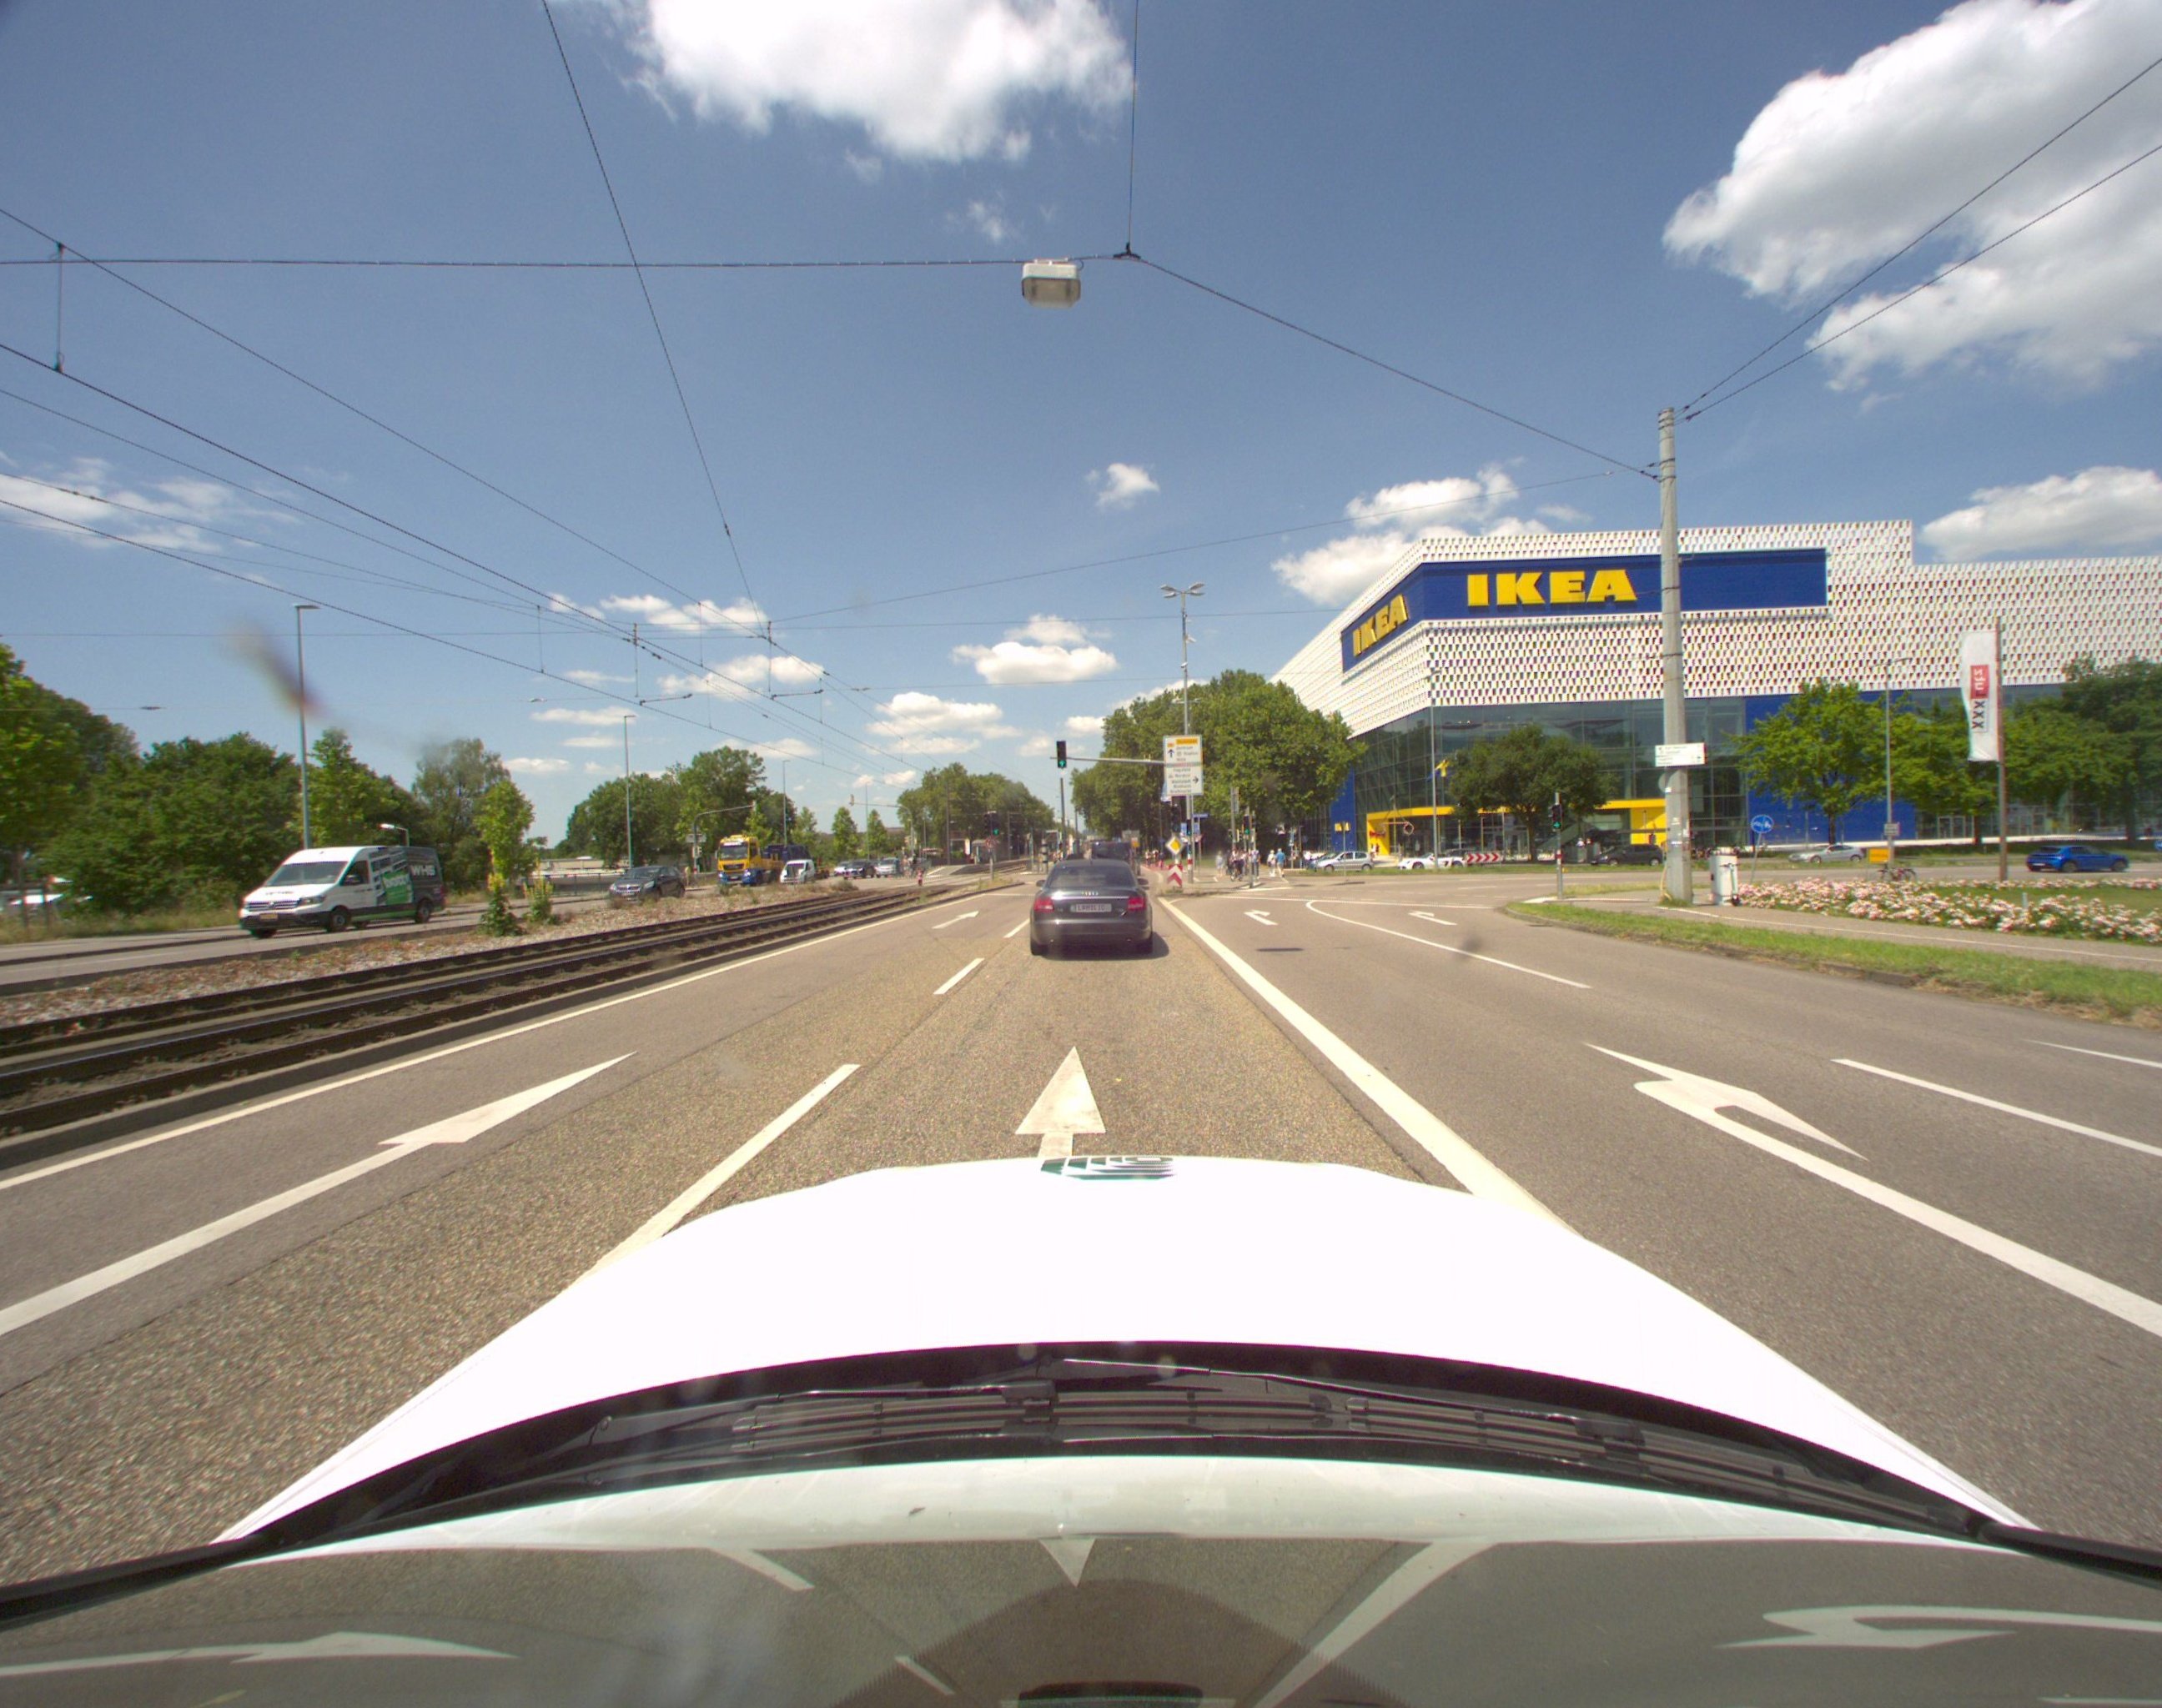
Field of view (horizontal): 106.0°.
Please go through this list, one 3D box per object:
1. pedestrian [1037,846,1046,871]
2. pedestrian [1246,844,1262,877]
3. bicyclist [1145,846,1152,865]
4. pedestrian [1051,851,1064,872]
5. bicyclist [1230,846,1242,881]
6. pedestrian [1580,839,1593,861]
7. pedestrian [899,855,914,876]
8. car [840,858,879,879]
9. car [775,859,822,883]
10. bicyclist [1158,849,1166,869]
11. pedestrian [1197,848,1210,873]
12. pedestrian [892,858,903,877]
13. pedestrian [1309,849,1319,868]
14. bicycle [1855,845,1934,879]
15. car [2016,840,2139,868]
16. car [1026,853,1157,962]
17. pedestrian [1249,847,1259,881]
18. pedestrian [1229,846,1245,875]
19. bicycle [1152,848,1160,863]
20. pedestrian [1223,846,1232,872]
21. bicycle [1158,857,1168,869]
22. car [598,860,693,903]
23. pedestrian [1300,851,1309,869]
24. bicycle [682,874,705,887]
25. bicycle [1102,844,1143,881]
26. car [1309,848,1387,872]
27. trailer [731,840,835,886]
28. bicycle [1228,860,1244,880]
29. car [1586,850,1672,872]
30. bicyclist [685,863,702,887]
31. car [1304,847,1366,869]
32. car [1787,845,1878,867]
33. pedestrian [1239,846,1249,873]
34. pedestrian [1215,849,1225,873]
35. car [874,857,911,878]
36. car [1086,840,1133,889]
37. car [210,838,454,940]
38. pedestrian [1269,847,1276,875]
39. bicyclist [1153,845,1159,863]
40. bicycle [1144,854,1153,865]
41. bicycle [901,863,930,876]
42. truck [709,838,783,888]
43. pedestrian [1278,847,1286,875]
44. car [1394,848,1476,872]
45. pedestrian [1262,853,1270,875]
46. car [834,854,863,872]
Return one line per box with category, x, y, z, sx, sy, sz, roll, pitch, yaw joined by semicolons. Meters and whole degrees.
pedestrian;-3.250;0.375;66.392;0.683;2.013;0.572;-1;0;-3
pedestrian;9.785;0.371;46.005;0.678;1.846;0.711;-1;0;27
bicyclist;6.416;0.152;77.647;0.526;1.789;1.088;-1;0;2
pedestrian;-1.726;0.540;60.013;0.734;1.555;0.612;-1;0;38
bicyclist;8.116;0.487;42.542;0.525;1.764;0.831;-1;0;15
pedestrian;46.016;-0.393;74.111;0.707;2.013;0.825;-1;0;3
pedestrian;-13.950;0.921;65.166;0.816;1.720;0.779;-1;0;23
car;-18.780;1.218;69.201;1.814;1.670;4.467;0;0;4
car;-21.253;1.258;61.420;1.815;1.670;4.465;0;0;3
bicyclist;7.080;0.442;71.124;0.527;1.676;1.088;-1;0;2
pedestrian;7.592;0.412;50.556;0.664;1.503;0.611;-1;0;18
pedestrian;-14.083;1.012;62.507;0.683;1.443;0.572;-1;0;-2
pedestrian;20.102;0.393;70.255;0.698;1.635;0.615;-1;0;20
bicycle;36.236;0.344;36.314;2.410;1.481;0.990;-1;0;6
car;53.305;-0.019;43.636;3.963;1.454;1.848;0;0;9
car;0.204;0.739;13.337;1.786;1.455;4.002;-1;0;2
pedestrian;8.560;0.488;40.297;0.379;1.635;0.377;-1;0;4
pedestrian;8.869;0.344;46.422;0.706;1.635;0.711;-1;0;27
bicycle;7.510;0.147;81.738;0.685;1.519;2.753;-1;0;2
pedestrian;9.422;0.302;52.535;0.518;1.670;0.495;-1;0;4
bicycle;7.162;0.743;70.990;0.685;1.006;2.753;-1;0;2
car;-18.833;1.138;35.477;1.817;1.670;4.459;0;0;-1
pedestrian;19.368;0.503;70.557;0.698;1.544;0.681;-1;0;20
bicycle;-29.447;1.997;61.950;1.487;0.987;0.485;-1;0;-3
bicycle;2.493;0.473;47.655;1.982;2.013;4.010;-1;0;8
car;17.248;0.378;52.800;4.476;1.486;2.003;0;0;5
trailer;-25.231;0.652;70.287;2.757;3.518;15.882;-1;0;1
bicycle;8.107;0.825;42.576;0.654;1.022;1.869;-1;0;15
car;37.358;0.456;55.572;4.476;1.486;2.003;0;0;5
bicyclist;-29.494;1.607;61.929;1.116;1.774;0.340;-1;0;-4
car;17.458;0.257;56.121;3.771;1.486;2.003;0;0;5
car;53.661;0.112;58.223;4.476;1.486;2.003;0;0;5
pedestrian;10.023;0.357;50.117;0.551;1.635;0.433;-1;0;4
pedestrian;8.602;0.435;50.377;0.490;1.520;0.710;-1;0;19
car;-15.973;1.110;69.380;1.814;1.670;4.466;0;0;4
car;1.201;0.429;34.783;1.830;1.950;4.001;-1;0;1
car;-22.555;0.918;25.058;2.242;2.588;6.218;-4;1;-8
pedestrian;11.175;0.402;47.460;0.319;1.635;0.377;-1;0;4
bicyclist;7.531;-0.008;81.411;0.527;1.789;1.088;-1;0;2
bicycle;6.424;0.503;77.609;0.685;0.993;2.753;-1;0;2
bicycle;-12.509;1.137;61.591;2.055;0.925;0.751;-1;0;-9
truck;-25.431;0.671;62.154;2.757;3.569;6.441;-1;0;1
pedestrian;11.711;0.411;47.461;0.396;1.635;0.371;-1;0;4
car;22.785;0.379;52.587;4.476;1.486;2.003;0;0;5
pedestrian;10.793;0.578;47.483;0.371;1.303;0.365;-1;0;4
car;-24.524;0.966;85.999;1.795;1.818;4.002;-1;0;2
